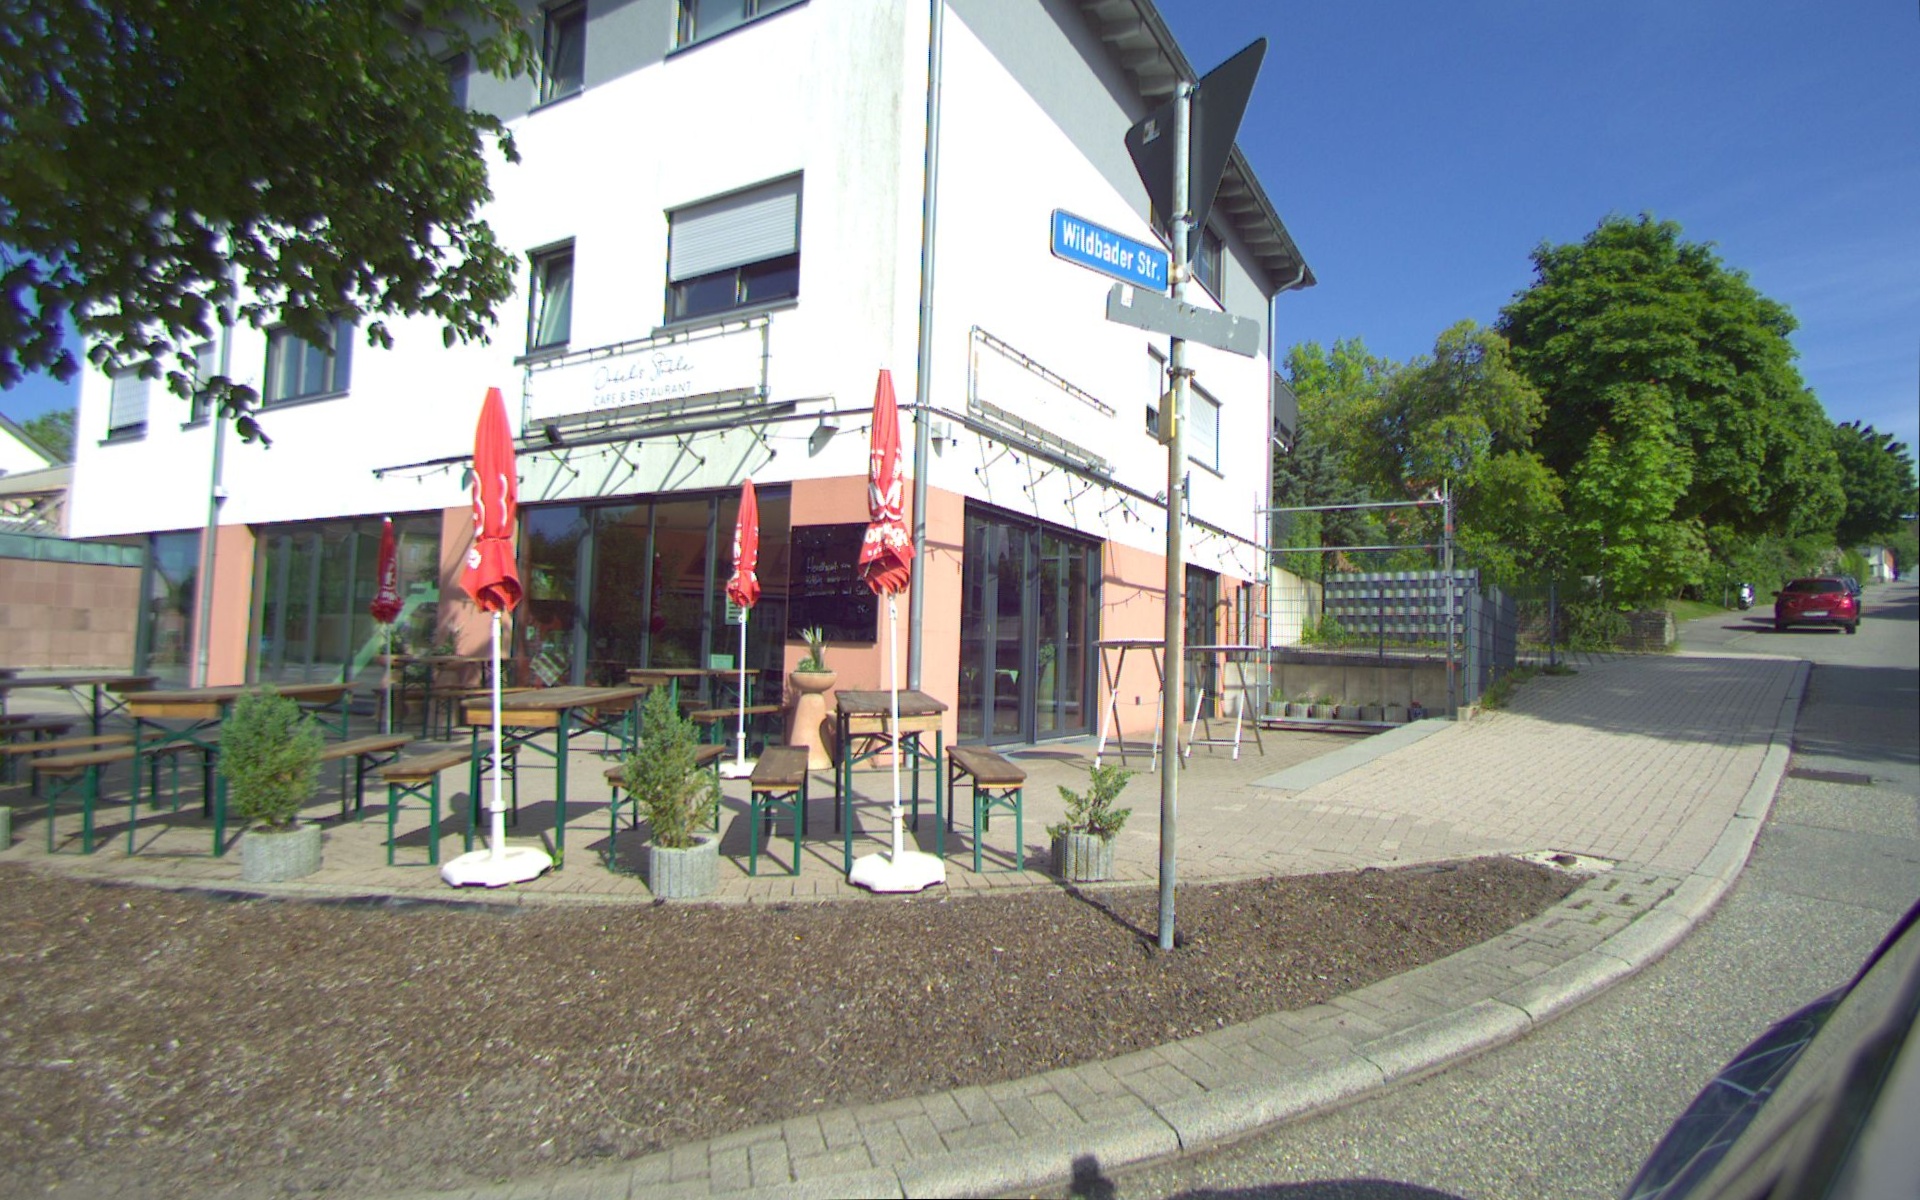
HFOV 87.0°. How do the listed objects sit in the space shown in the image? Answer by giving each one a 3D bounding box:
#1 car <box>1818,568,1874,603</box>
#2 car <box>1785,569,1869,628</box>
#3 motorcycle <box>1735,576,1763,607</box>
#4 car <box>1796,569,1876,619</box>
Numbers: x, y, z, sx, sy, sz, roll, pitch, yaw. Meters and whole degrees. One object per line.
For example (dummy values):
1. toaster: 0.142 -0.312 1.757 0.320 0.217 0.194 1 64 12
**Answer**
1. car: 39.850 -0.661 45.506 1.770 1.489 3.752 0 1 43
2. car: 23.902 -0.063 27.861 1.619 1.517 3.752 0 1 43
3. motorcycle: 31.783 -0.343 40.744 0.782 1.196 2.156 0 1 41
4. car: 27.666 -0.208 31.921 1.770 1.489 3.752 0 1 43
